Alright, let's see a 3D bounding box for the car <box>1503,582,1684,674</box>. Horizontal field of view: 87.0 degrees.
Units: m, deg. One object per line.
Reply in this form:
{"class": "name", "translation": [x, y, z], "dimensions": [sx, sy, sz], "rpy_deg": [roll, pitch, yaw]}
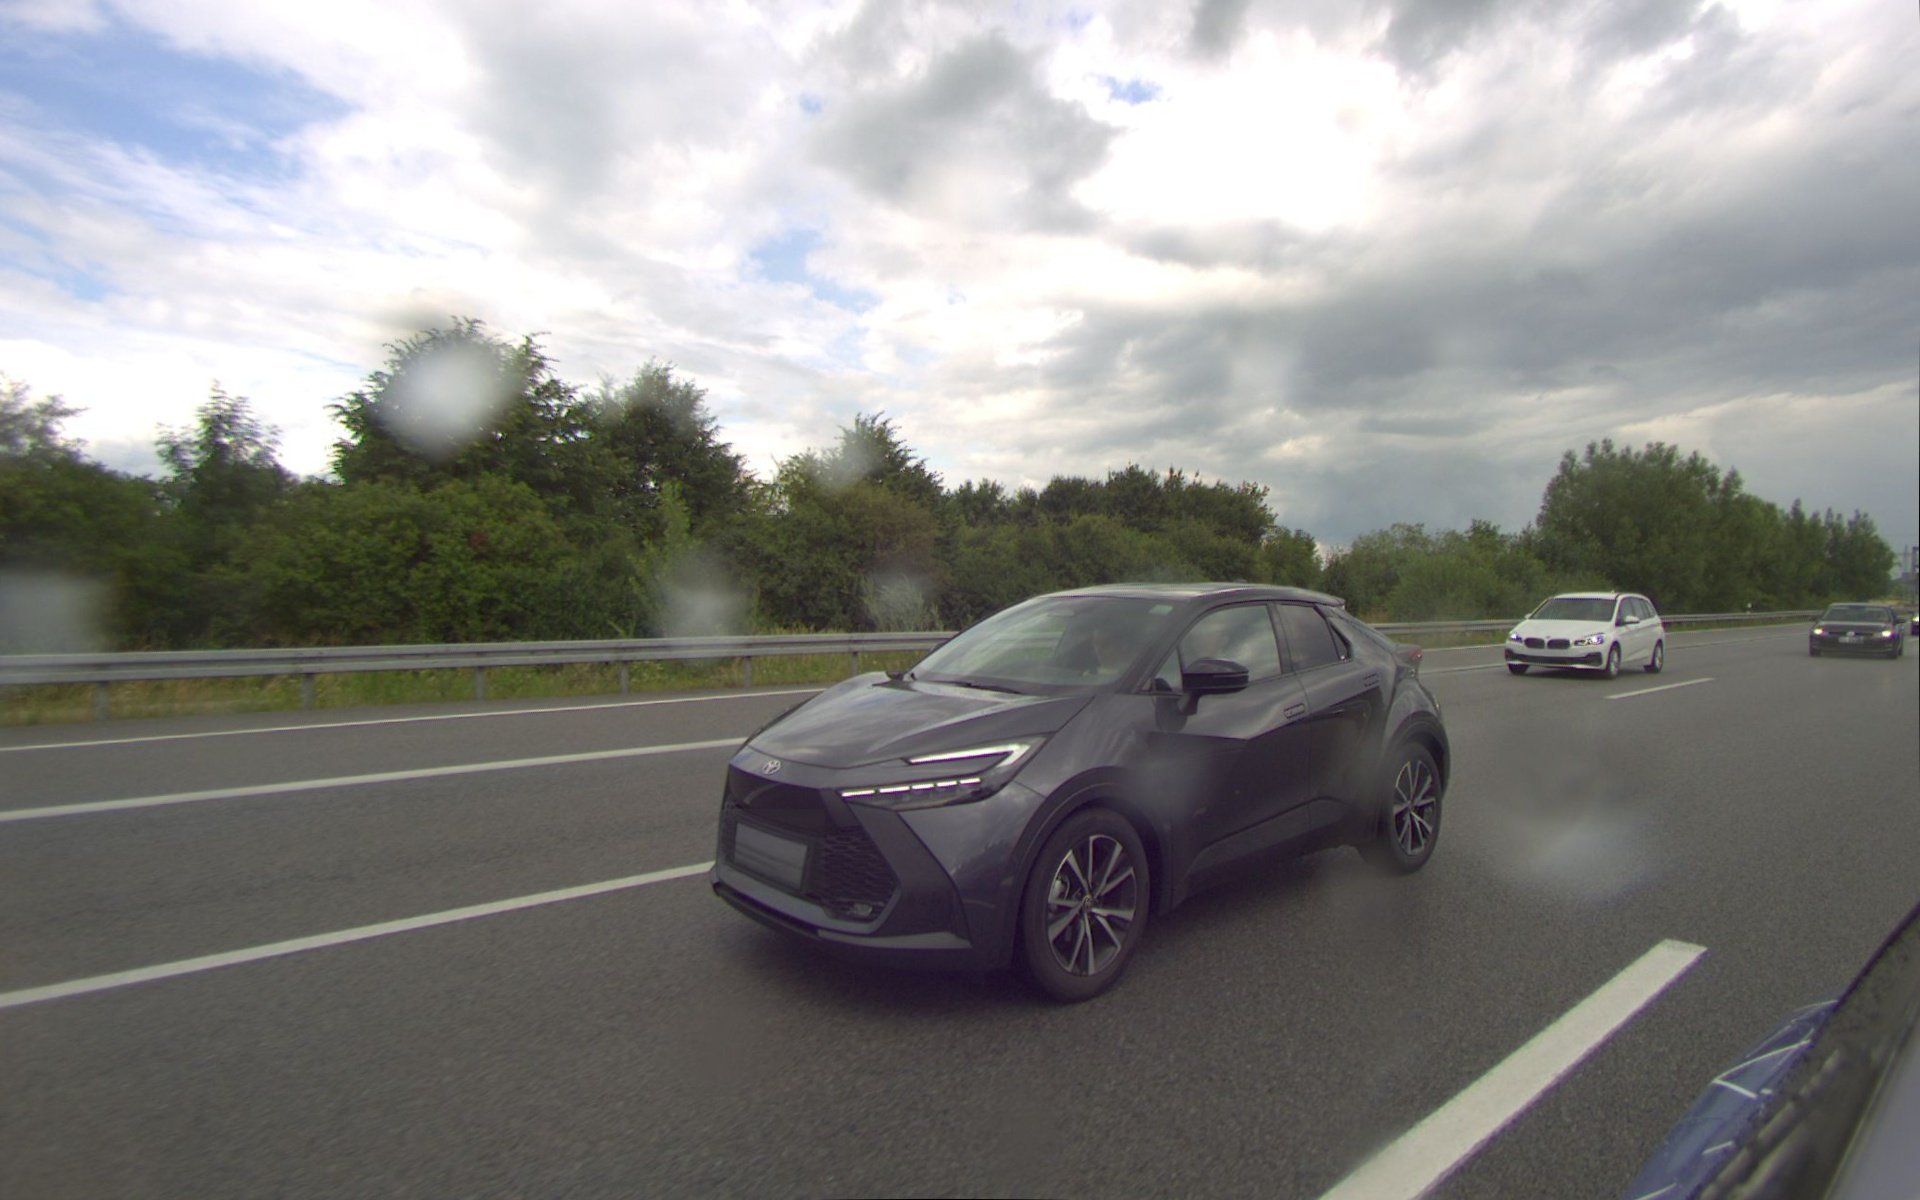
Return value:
{"class": "car", "translation": [12.577, 0.470, 19.973], "dimensions": [4.614, 1.619, 1.813], "rpy_deg": [0, 1, -42]}

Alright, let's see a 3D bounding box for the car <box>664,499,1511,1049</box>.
{"class": "car", "translation": [1.001, 0.498, 5.185], "dimensions": [4.518, 1.633, 1.783], "rpy_deg": [0, 1, -42]}

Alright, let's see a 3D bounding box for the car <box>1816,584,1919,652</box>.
{"class": "car", "translation": [24.327, 0.428, 26.835], "dimensions": [4.376, 1.651, 1.711], "rpy_deg": [0, 1, -39]}
